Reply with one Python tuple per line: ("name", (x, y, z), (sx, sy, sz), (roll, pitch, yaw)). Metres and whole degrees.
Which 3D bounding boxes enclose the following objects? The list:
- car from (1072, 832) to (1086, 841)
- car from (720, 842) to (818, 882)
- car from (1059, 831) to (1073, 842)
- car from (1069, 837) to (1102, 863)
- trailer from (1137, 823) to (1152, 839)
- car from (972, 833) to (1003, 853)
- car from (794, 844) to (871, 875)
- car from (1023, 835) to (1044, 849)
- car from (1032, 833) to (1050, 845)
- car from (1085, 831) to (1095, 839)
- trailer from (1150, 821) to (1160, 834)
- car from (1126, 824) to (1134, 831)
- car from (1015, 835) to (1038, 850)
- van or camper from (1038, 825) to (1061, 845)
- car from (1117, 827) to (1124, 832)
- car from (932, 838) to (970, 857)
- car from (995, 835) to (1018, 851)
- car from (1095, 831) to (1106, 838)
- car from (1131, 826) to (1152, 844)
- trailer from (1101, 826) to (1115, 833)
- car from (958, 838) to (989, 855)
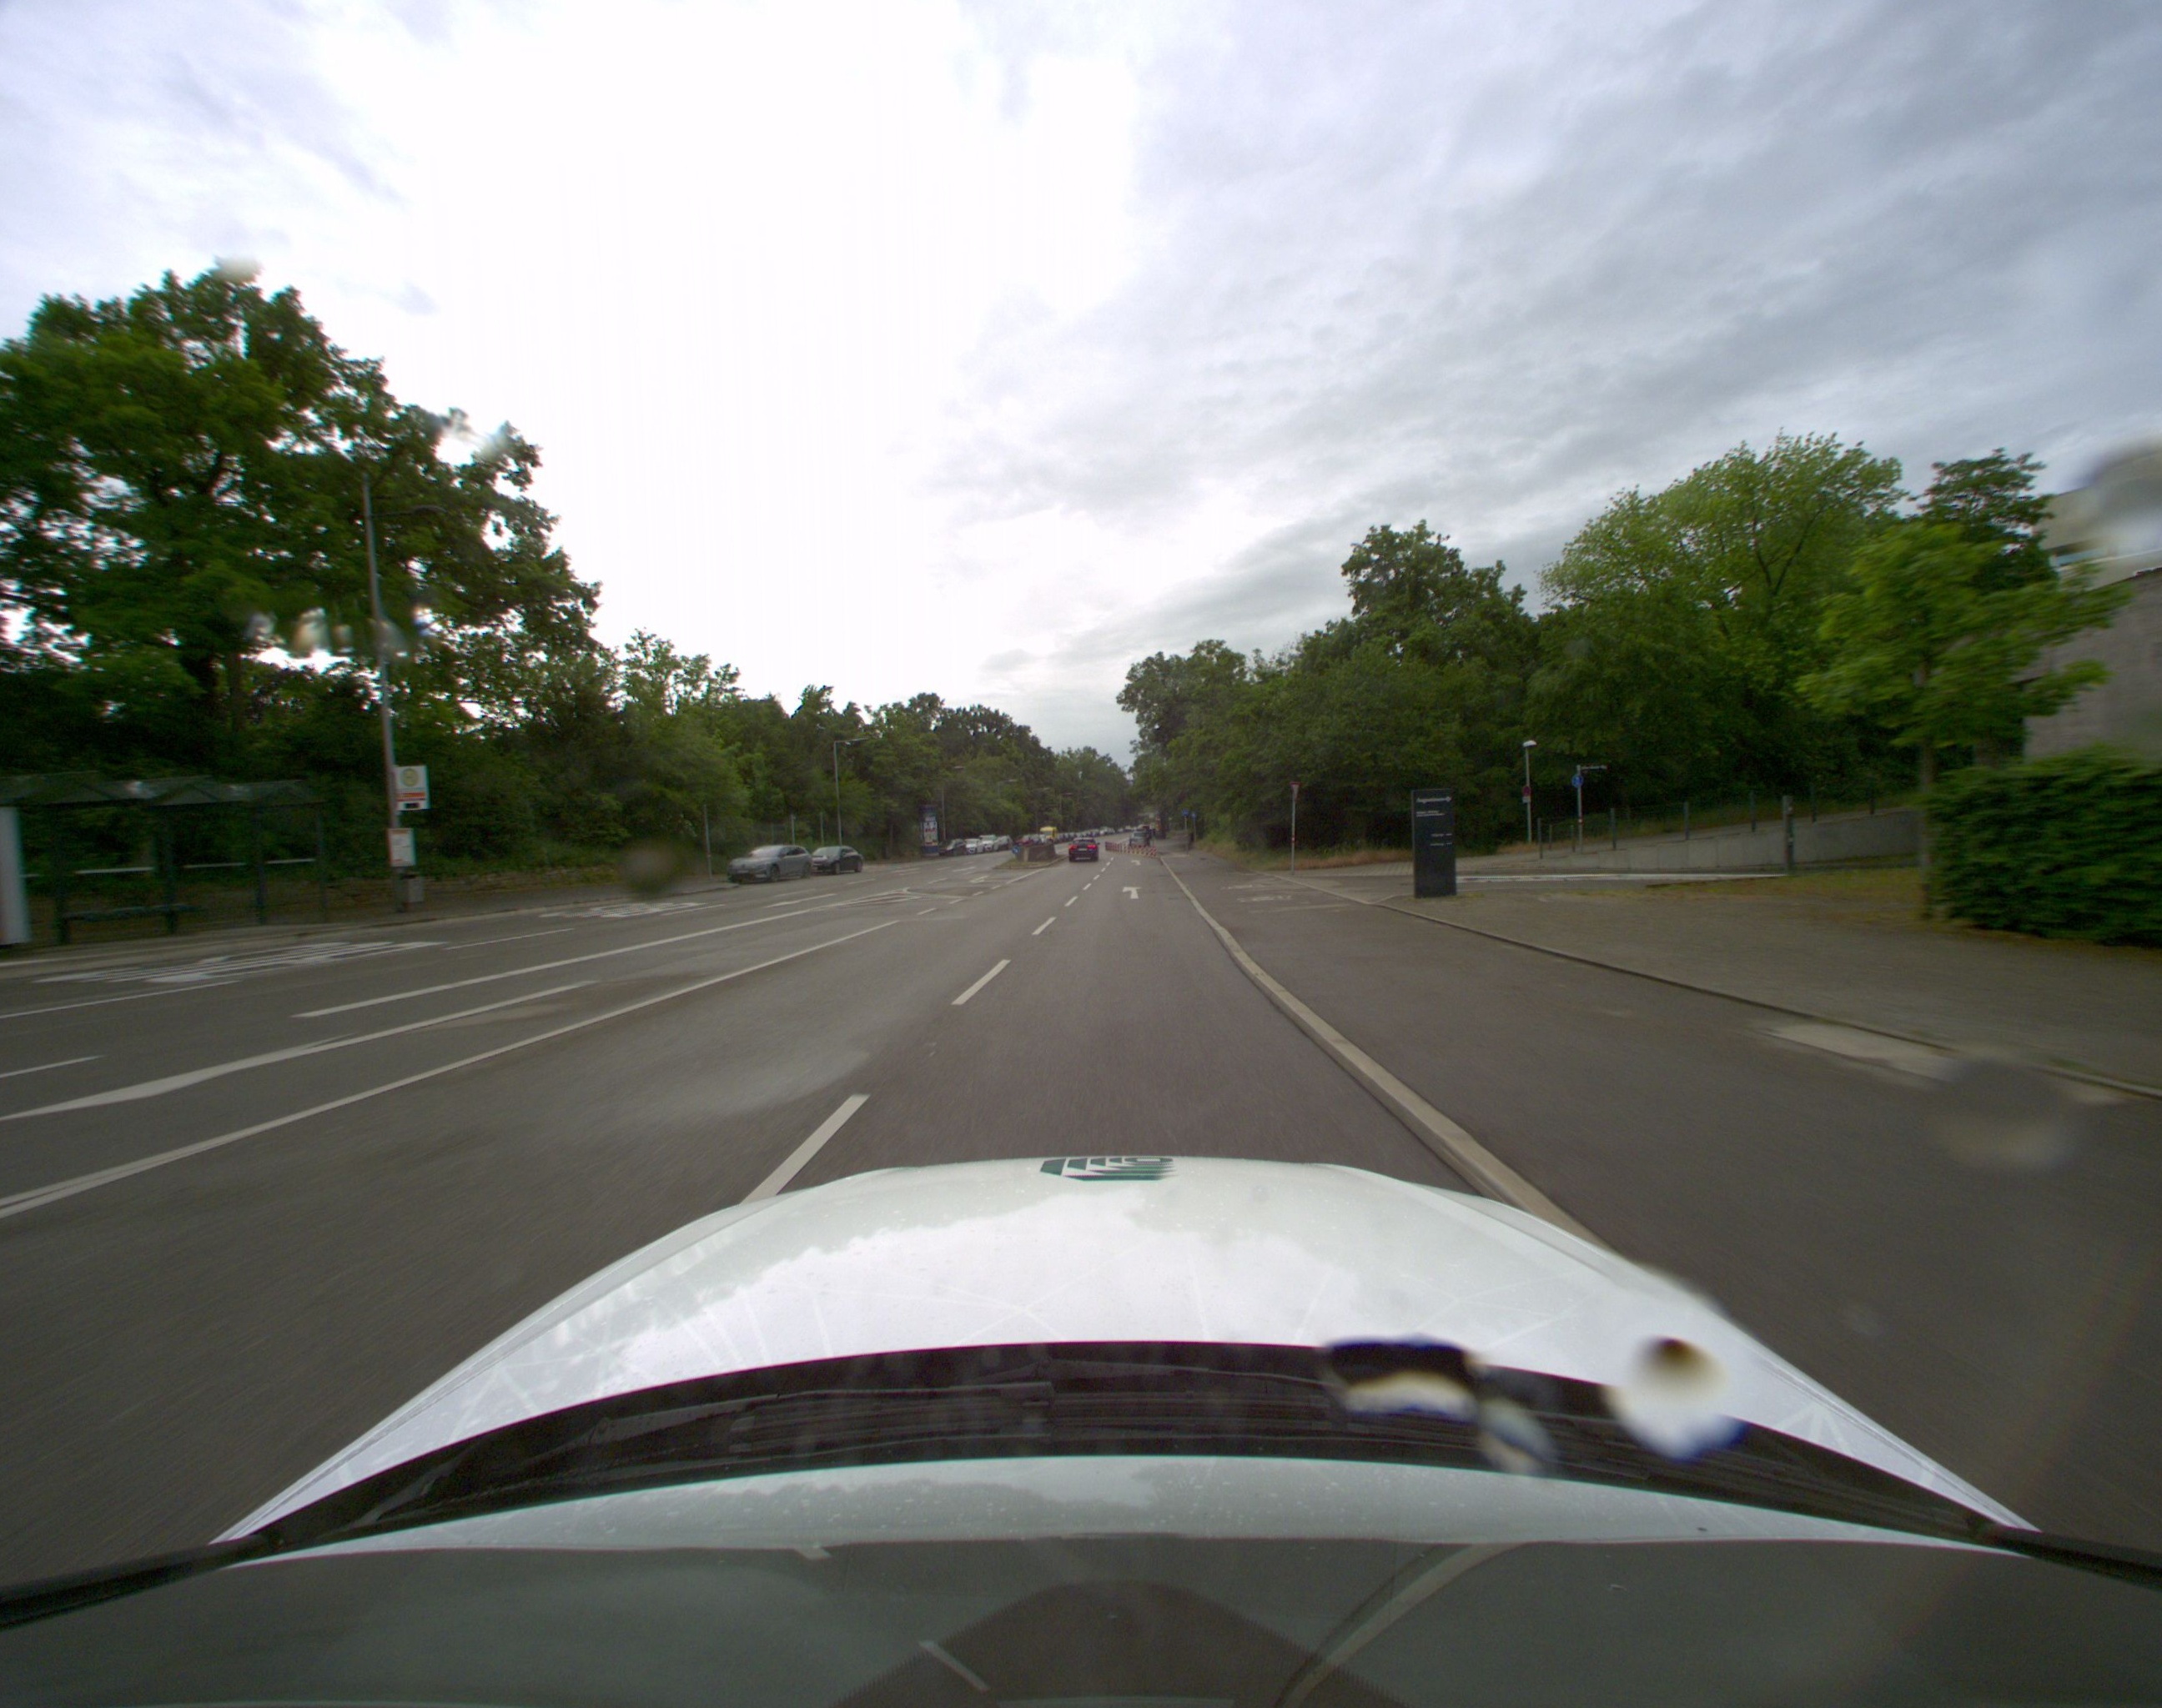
("car", (-0.315, -3.091, 143.379), (1.860, 1.303, 4.480), (-2, 2, 7))
("car", (-13.285, 0.285, 35.099), (1.831, 1.589, 4.938), (-1, 1, 6))
("car", (-2.390, -2.891, 133.894), (1.593, 1.510, 3.987), (-2, 2, 8))
("car", (0.229, -0.288, 50.872), (1.876, 1.465, 3.997), (-1, 2, -2))
("trailer", (9.840, -3.554, 125.937), (1.896, 2.247, 4.778), (-2, 2, 7))
("car", (-9.329, -1.136, 81.684), (1.983, 1.765, 4.970), (-2, 2, 7))
("car", (-12.366, 0.243, 40.843), (1.896, 1.414, 4.792), (-1, 1, 6))
("car", (-6.216, -1.609, 106.229), (1.984, 1.700, 4.624), (-2, 2, 6))
("car", (-5.460, -2.035, 111.614), (1.608, 1.448, 3.666), (-3, 2, 8))
("car", (1.662, -3.594, 153.498), (1.453, 1.571, 2.990), (-2, 2, 6))
("trailer", (15.618, -5.641, 172.206), (2.122, 2.559, 4.304), (-2, 2, 5))
("car", (15.696, -8.548, 261.412), (2.146, 2.013, 5.044), (-2, 2, 8))
("car", (-6.764, -1.419, 100.902), (1.908, 1.616, 4.500), (-3, 2, 8))
("van or camper", (-4.505, -2.812, 117.794), (2.131, 2.626, 5.697), (-2, 2, 8))
("car", (11.494, -7.079, 236.408), (1.663, 1.513, 3.638), (-1, 2, 7))
("car", (-11.095, -0.582, 69.750), (1.738, 1.445, 4.600), (-2, 2, 9))
("car", (-8.126, -1.209, 89.070), (1.723, 1.648, 4.577), (-2, 2, 4))
("car", (4.375, -4.398, 180.229), (1.982, 1.488, 4.479), (-2, 2, 8))
("car", (5.719, -1.810, 77.246), (1.815, 1.614, 4.255), (-2, 1, 3))
("trailer", (6.509, -5.846, 196.297), (1.609, 1.628, 3.697), (-1, 2, 38))
("car", (-10.007, -0.730, 76.055), (1.709, 1.460, 4.719), (-2, 2, 7))
